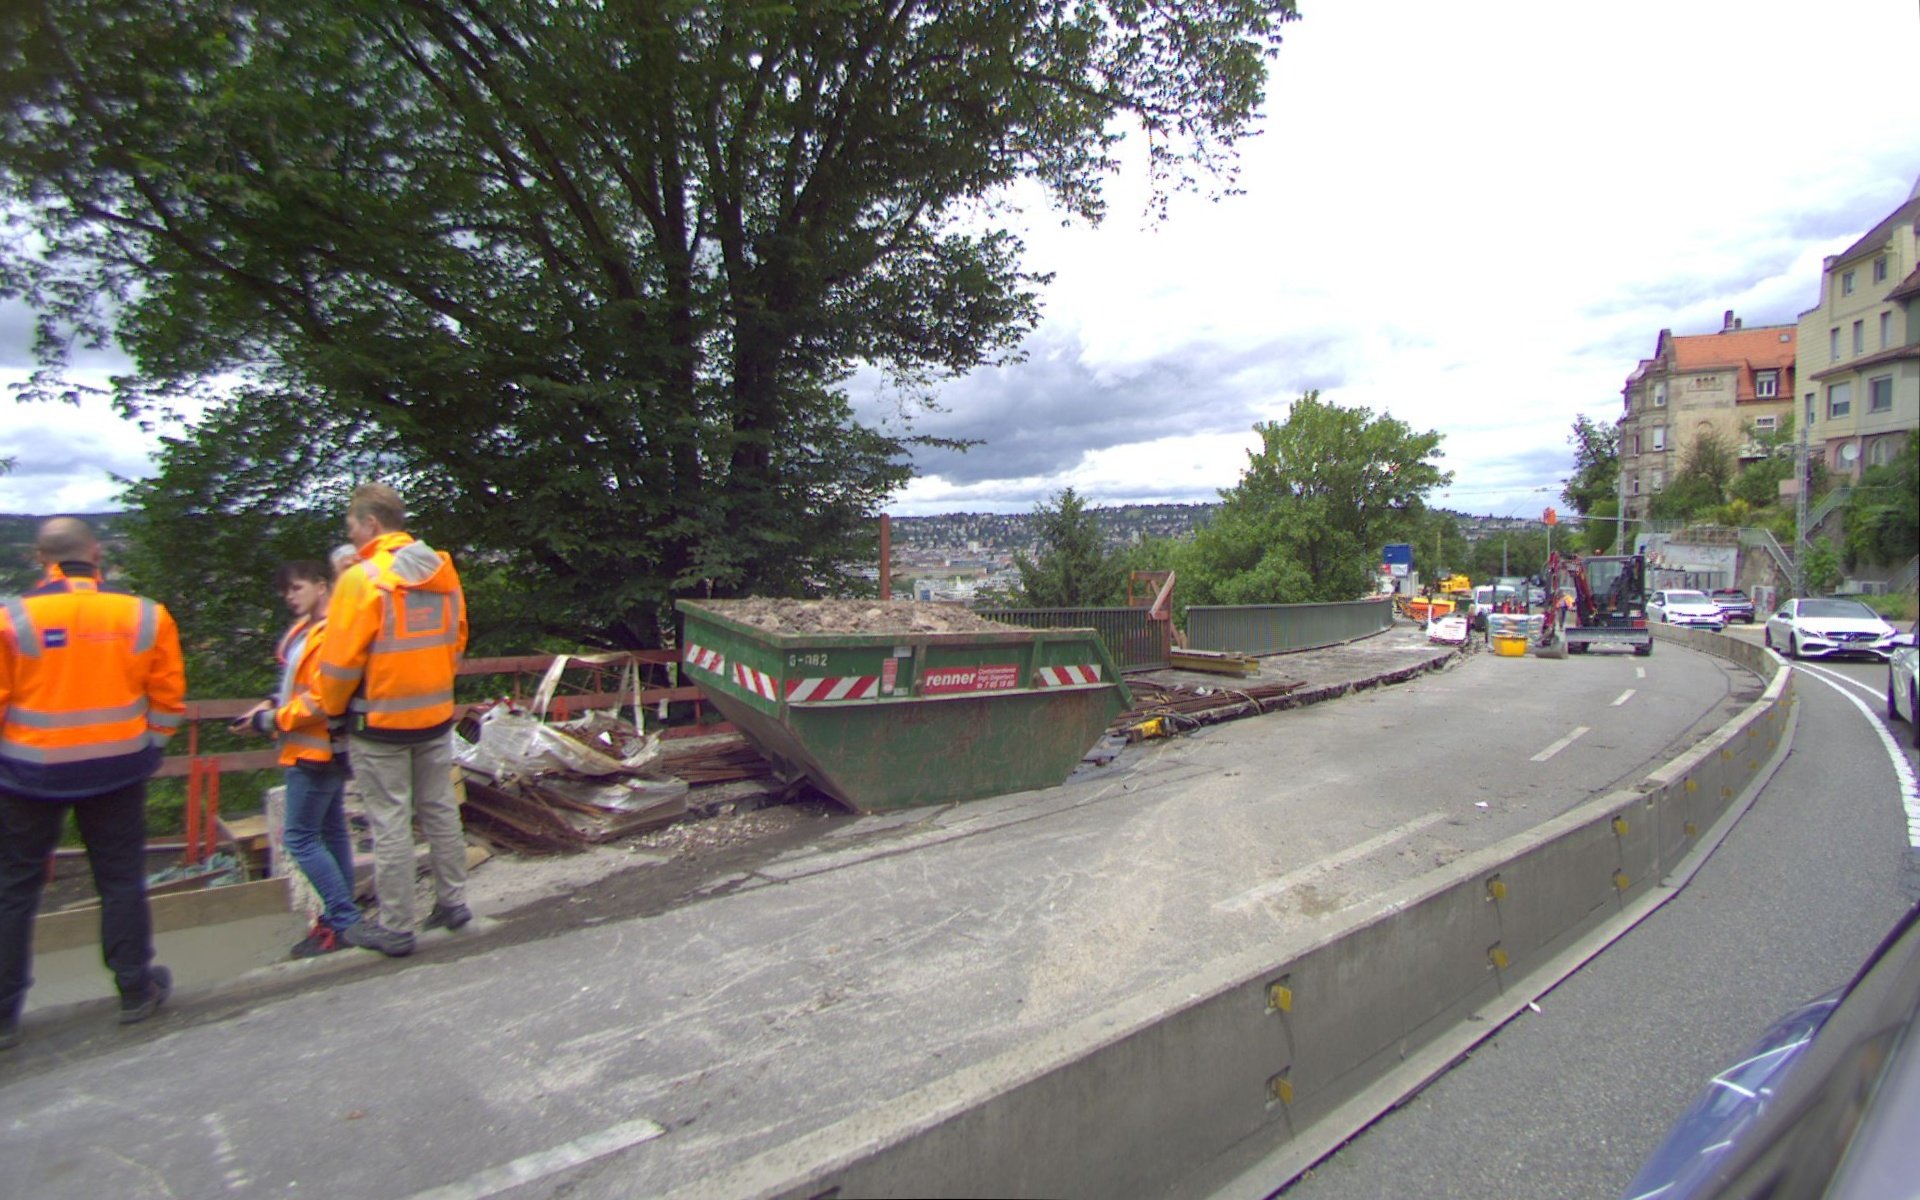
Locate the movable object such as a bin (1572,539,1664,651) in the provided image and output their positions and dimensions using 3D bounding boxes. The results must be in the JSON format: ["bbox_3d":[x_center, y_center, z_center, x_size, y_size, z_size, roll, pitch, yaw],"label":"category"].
[{"bbox_3d":[16.741,-0.133,25.702,1.852,2.628,3.397,0,0,35],"label":"movable object such as a bin"}]

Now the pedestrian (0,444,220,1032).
[{"bbox_3d":[-3.094,0.426,3.491,0.525,1.865,0.784,5,4,43],"label":"pedestrian"}]

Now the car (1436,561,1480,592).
[{"bbox_3d":[35.596,-1.649,72.436,1.970,2.128,4.053,0,0,14],"label":"car"}]

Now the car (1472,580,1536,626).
[{"bbox_3d":[21.596,0.092,40.314,1.773,1.706,3.971,0,0,22],"label":"car"}]

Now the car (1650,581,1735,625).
[{"bbox_3d":[28.059,0.087,38.886,1.867,1.598,3.966,0,0,25],"label":"car"}]

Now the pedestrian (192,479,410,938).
[{"bbox_3d":[-3.064,0.460,4.714,0.727,1.916,0.611,-2,-3,37],"label":"pedestrian"}]

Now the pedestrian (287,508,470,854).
[{"bbox_3d":[-3.292,0.424,5.747,0.641,1.817,0.637,-2,0,29],"label":"pedestrian"}]

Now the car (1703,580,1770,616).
[{"bbox_3d":[33.962,-0.095,44.342,1.675,1.527,3.629,0,0,27],"label":"car"}]

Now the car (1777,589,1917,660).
[{"bbox_3d":[20.480,0.486,23.542,1.786,1.322,4.055,2,3,32],"label":"car"}]

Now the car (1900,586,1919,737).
[{"bbox_3d":[11.198,0.591,10.577,1.846,1.485,4.806,0,0,41],"label":"car"}]

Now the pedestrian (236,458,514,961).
[{"bbox_3d":[-2.440,0.408,4.285,0.610,1.908,0.715,3,0,14],"label":"pedestrian"}]
